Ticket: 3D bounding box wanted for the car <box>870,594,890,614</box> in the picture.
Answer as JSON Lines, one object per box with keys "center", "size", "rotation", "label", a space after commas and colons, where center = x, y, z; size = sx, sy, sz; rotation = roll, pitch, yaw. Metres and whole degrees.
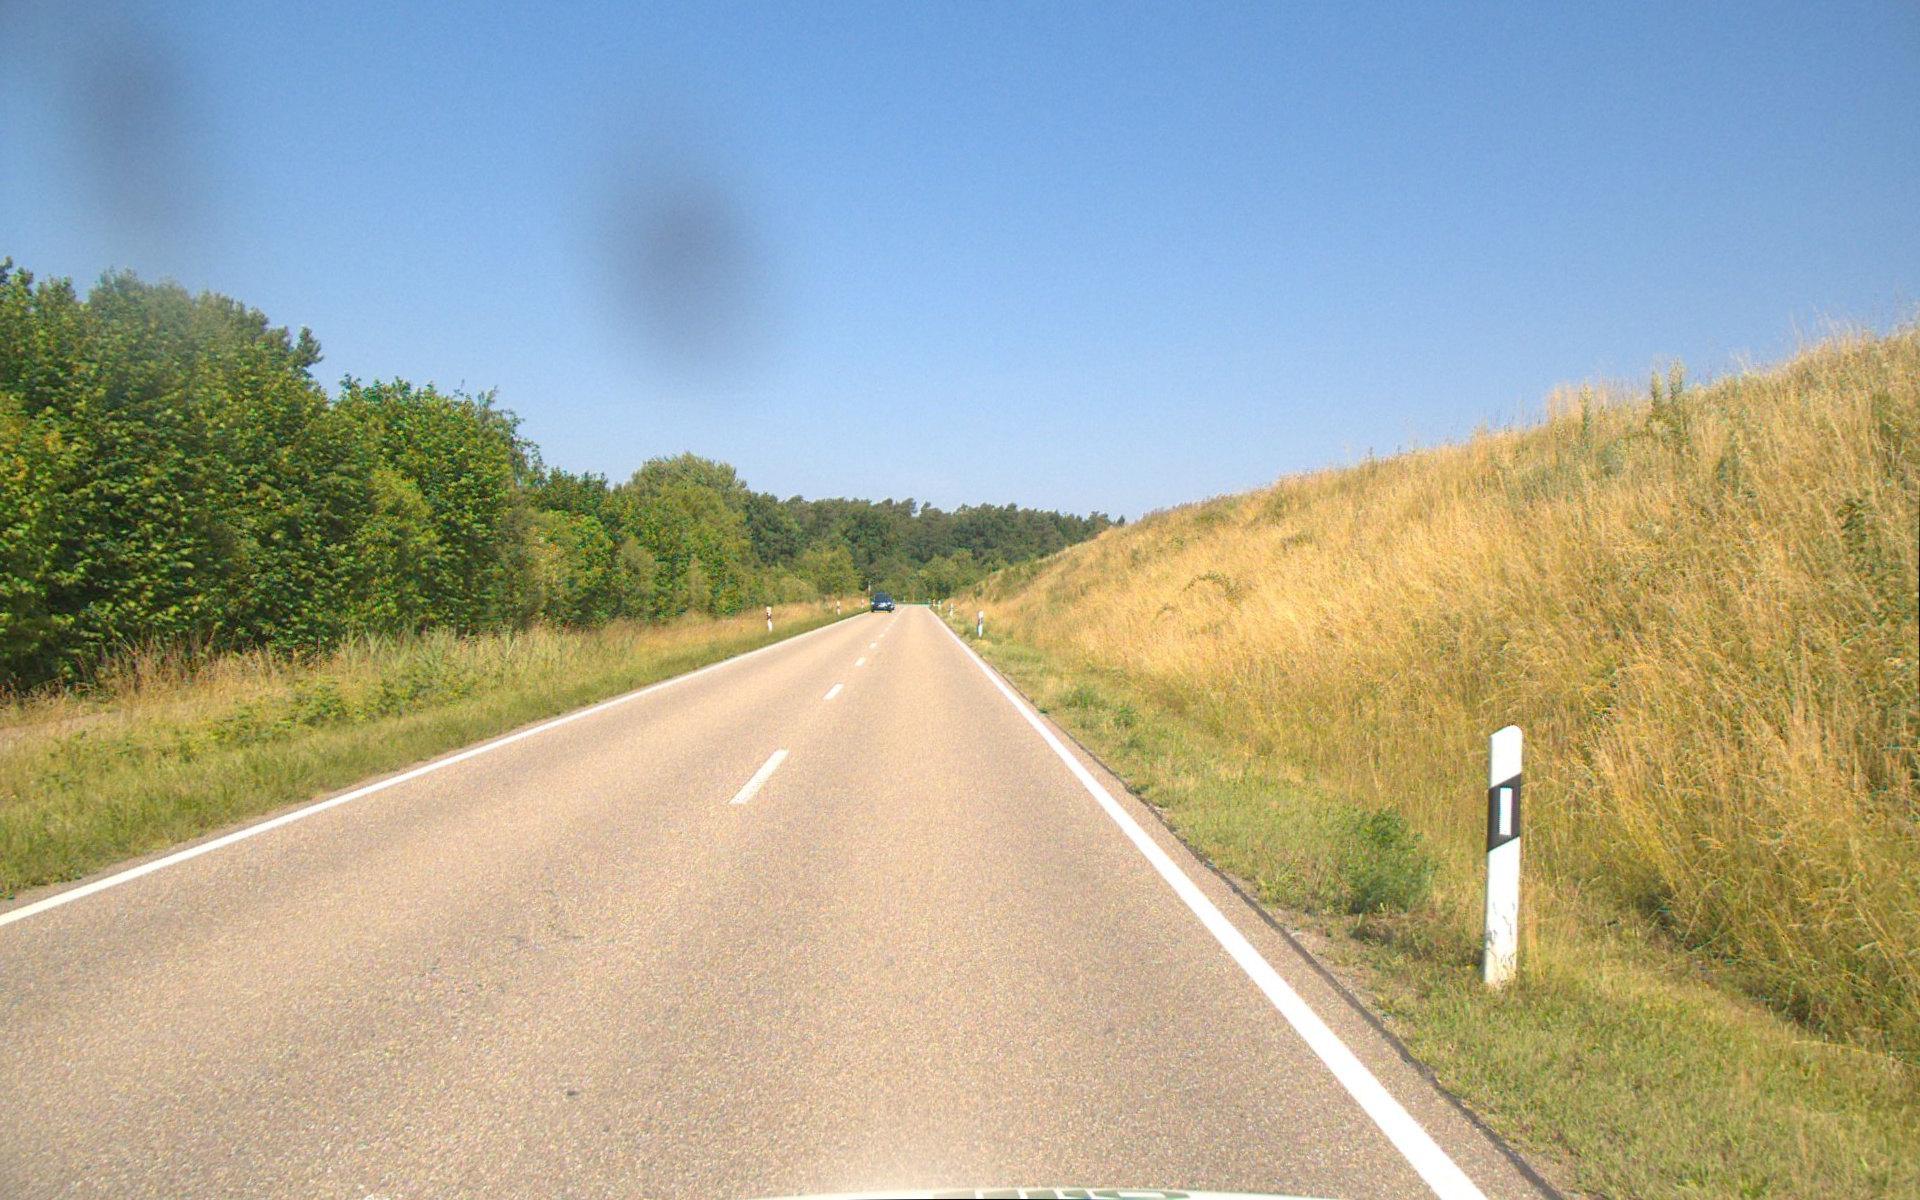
{"center": [-6.935, 0.358, 143.578], "size": [1.681, 1.675, 3.913], "rotation": [1, 0, -2], "label": "car"}
